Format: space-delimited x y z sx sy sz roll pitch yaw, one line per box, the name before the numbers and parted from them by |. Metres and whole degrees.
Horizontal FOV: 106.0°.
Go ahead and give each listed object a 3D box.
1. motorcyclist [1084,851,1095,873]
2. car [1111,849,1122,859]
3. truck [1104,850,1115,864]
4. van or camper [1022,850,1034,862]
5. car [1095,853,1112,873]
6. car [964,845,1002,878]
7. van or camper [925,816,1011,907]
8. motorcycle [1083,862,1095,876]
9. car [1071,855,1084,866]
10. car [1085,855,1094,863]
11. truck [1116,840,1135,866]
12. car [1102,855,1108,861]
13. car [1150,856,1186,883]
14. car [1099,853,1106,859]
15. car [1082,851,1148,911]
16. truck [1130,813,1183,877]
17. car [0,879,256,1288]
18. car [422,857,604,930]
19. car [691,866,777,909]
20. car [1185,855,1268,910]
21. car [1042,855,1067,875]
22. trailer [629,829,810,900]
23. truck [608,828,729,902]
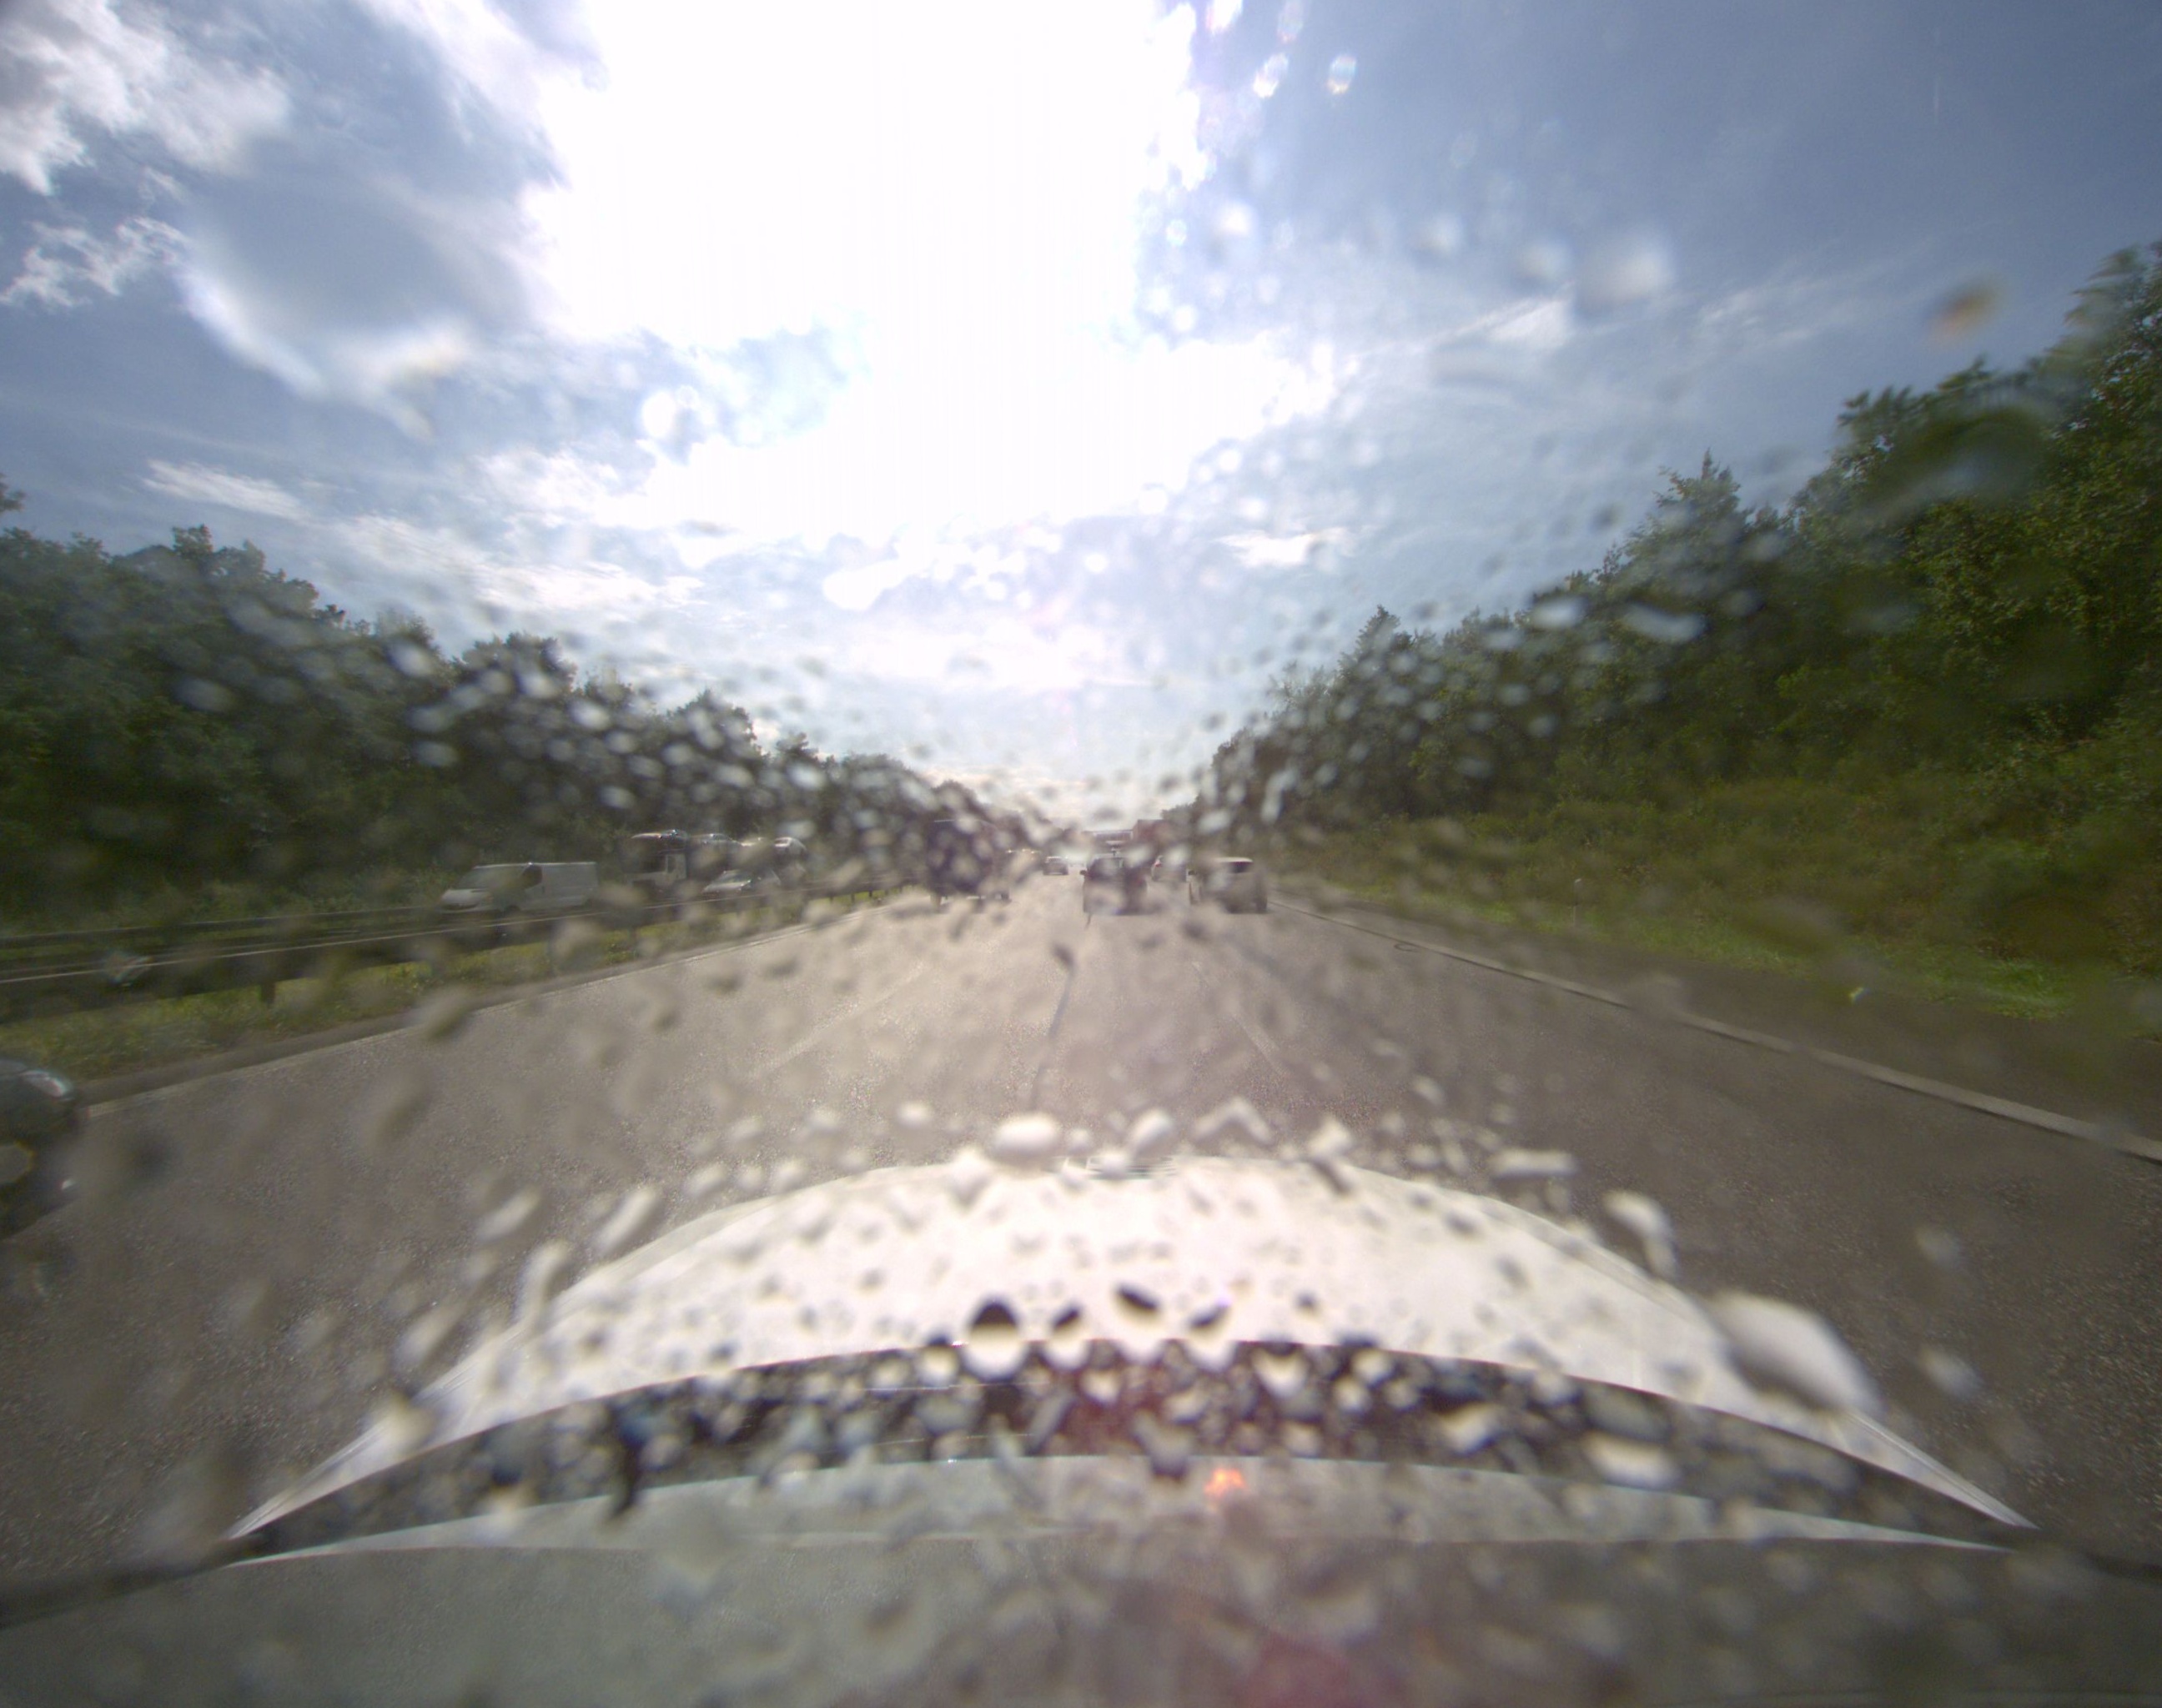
motorcyclist | 0.640 0.613 62.961 0.799 1.633 1.013 0 -1 1
car | 5.152 -0.030 119.204 1.547 1.383 3.210 0 0 1
truck | 5.873 0.644 169.041 2.184 2.875 4.850 0 0 1
van or camper | -13.223 0.445 204.375 2.492 2.921 7.138 0 0 1
car | 2.024 0.767 73.595 1.526 1.746 3.485 0 0 1
car | -7.591 0.555 63.753 2.175 2.452 5.748 0 0 1
van or camper | -3.579 0.239 26.822 1.986 2.669 5.385 0 0 1
motorcycle | 0.630 1.129 63.001 0.887 1.000 2.896 0 0 1
car | -0.441 0.862 111.951 1.745 1.457 3.390 0 0 1
car | 1.416 0.820 140.057 1.455 1.393 3.312 0 0 1
truck | 8.015 -0.167 148.156 3.243 4.479 12.429 -1 0 3
car | 7.484 1.256 253.417 1.986 1.728 4.002 -1 0 2
car | 4.910 0.843 46.362 1.675 1.442 3.905 0 0 1
car | 6.126 0.545 233.207 1.985 1.701 4.003 -2 0 3
car | 0.929 0.733 23.214 1.712 1.568 3.485 0 0 1
truck | 6.144 -0.616 68.981 3.635 4.720 16.789 -1 0 3
car | -4.766 0.820 1.332 1.787 1.419 4.841 0 0 2
car | -16.793 1.084 24.466 1.862 1.946 5.042 0 0 1
car | -12.909 1.204 30.494 1.597 1.464 3.652 0 0 1
car | 4.063 0.762 23.324 1.686 1.425 4.220 0 0 1
car | -2.114 0.869 65.931 1.848 1.551 3.485 0 0 1
trailer | -22.578 0.625 53.137 2.978 3.831 17.965 0 0 3
truck | -22.988 0.585 45.877 2.978 3.831 6.869 0 0 3
